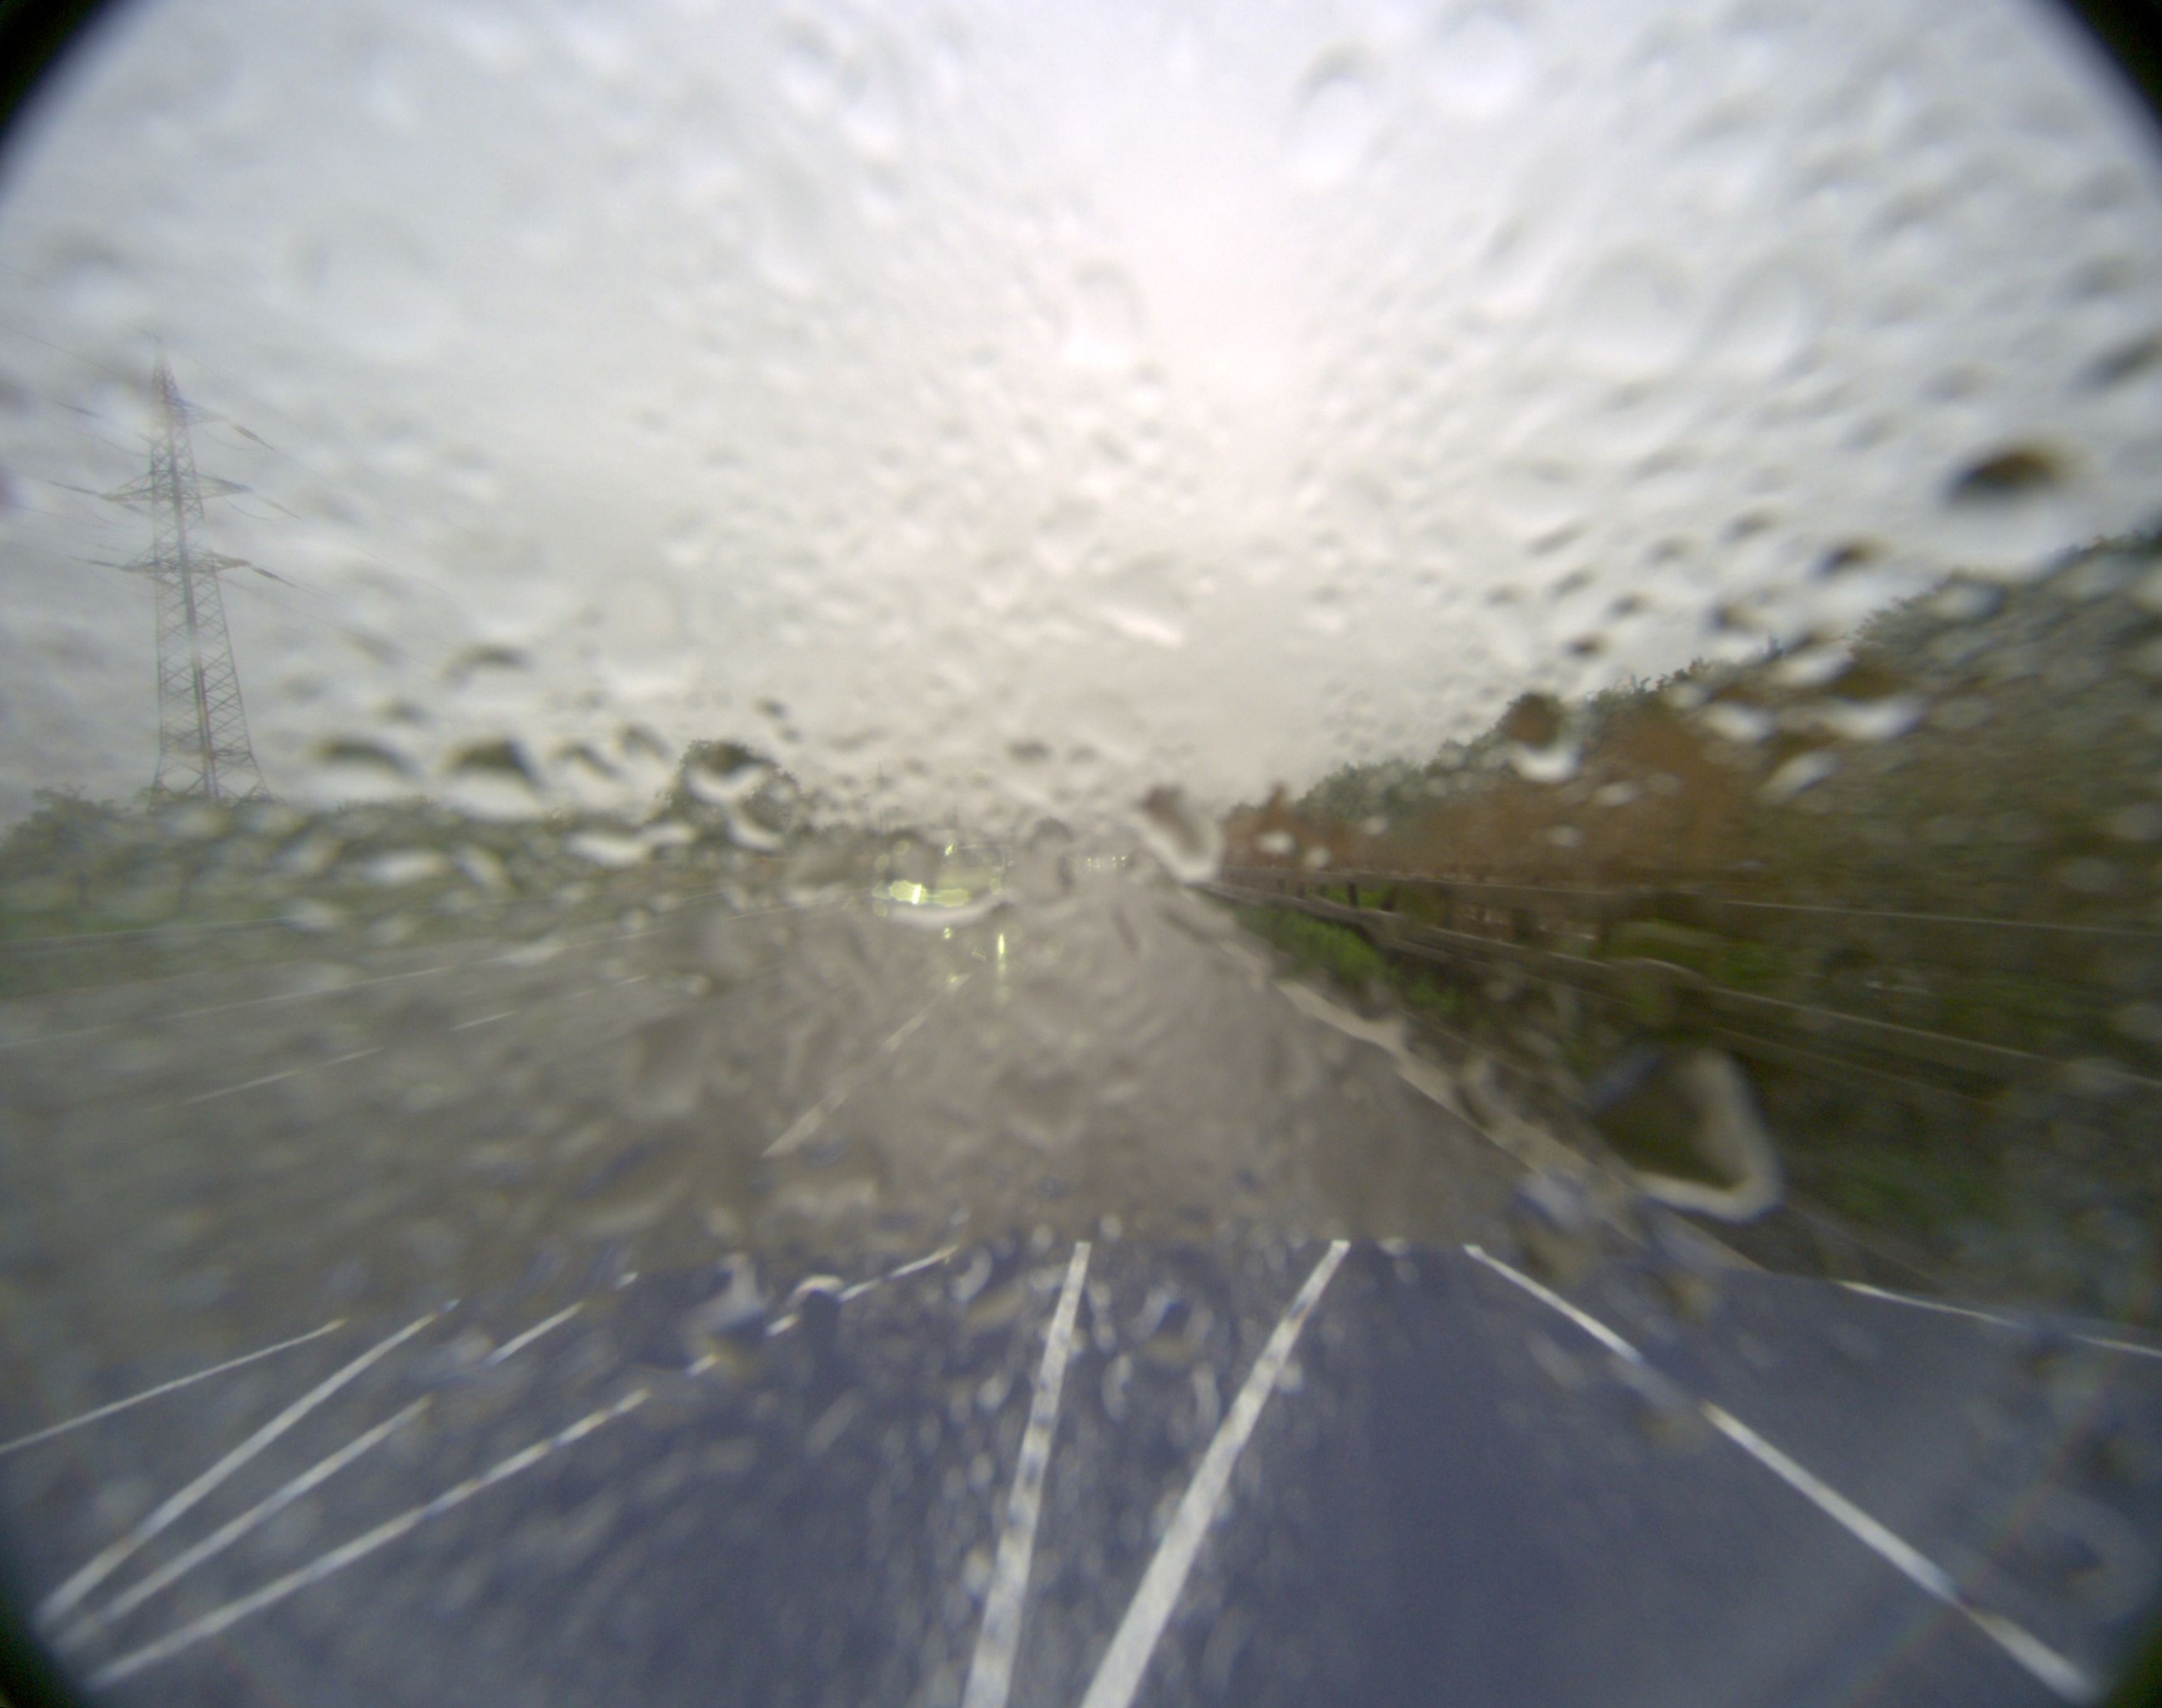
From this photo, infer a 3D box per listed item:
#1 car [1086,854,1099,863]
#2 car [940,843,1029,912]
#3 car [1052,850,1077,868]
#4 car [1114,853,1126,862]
[{"bbox_3d":[2.034,0.770,132.565,1.768,1.448,3.960,-4,0,6],"label":"car"},{"bbox_3d":[-2.946,0.676,24.396,1.892,1.873,5.010,-4,0,2],"label":"car"},{"bbox_3d":[-1.545,0.443,71.489,1.768,1.448,3.960,-4,0,6],"label":"car"},{"bbox_3d":[6.856,0.674,133.937,1.768,1.448,3.960,-4,0,6],"label":"car"}]
